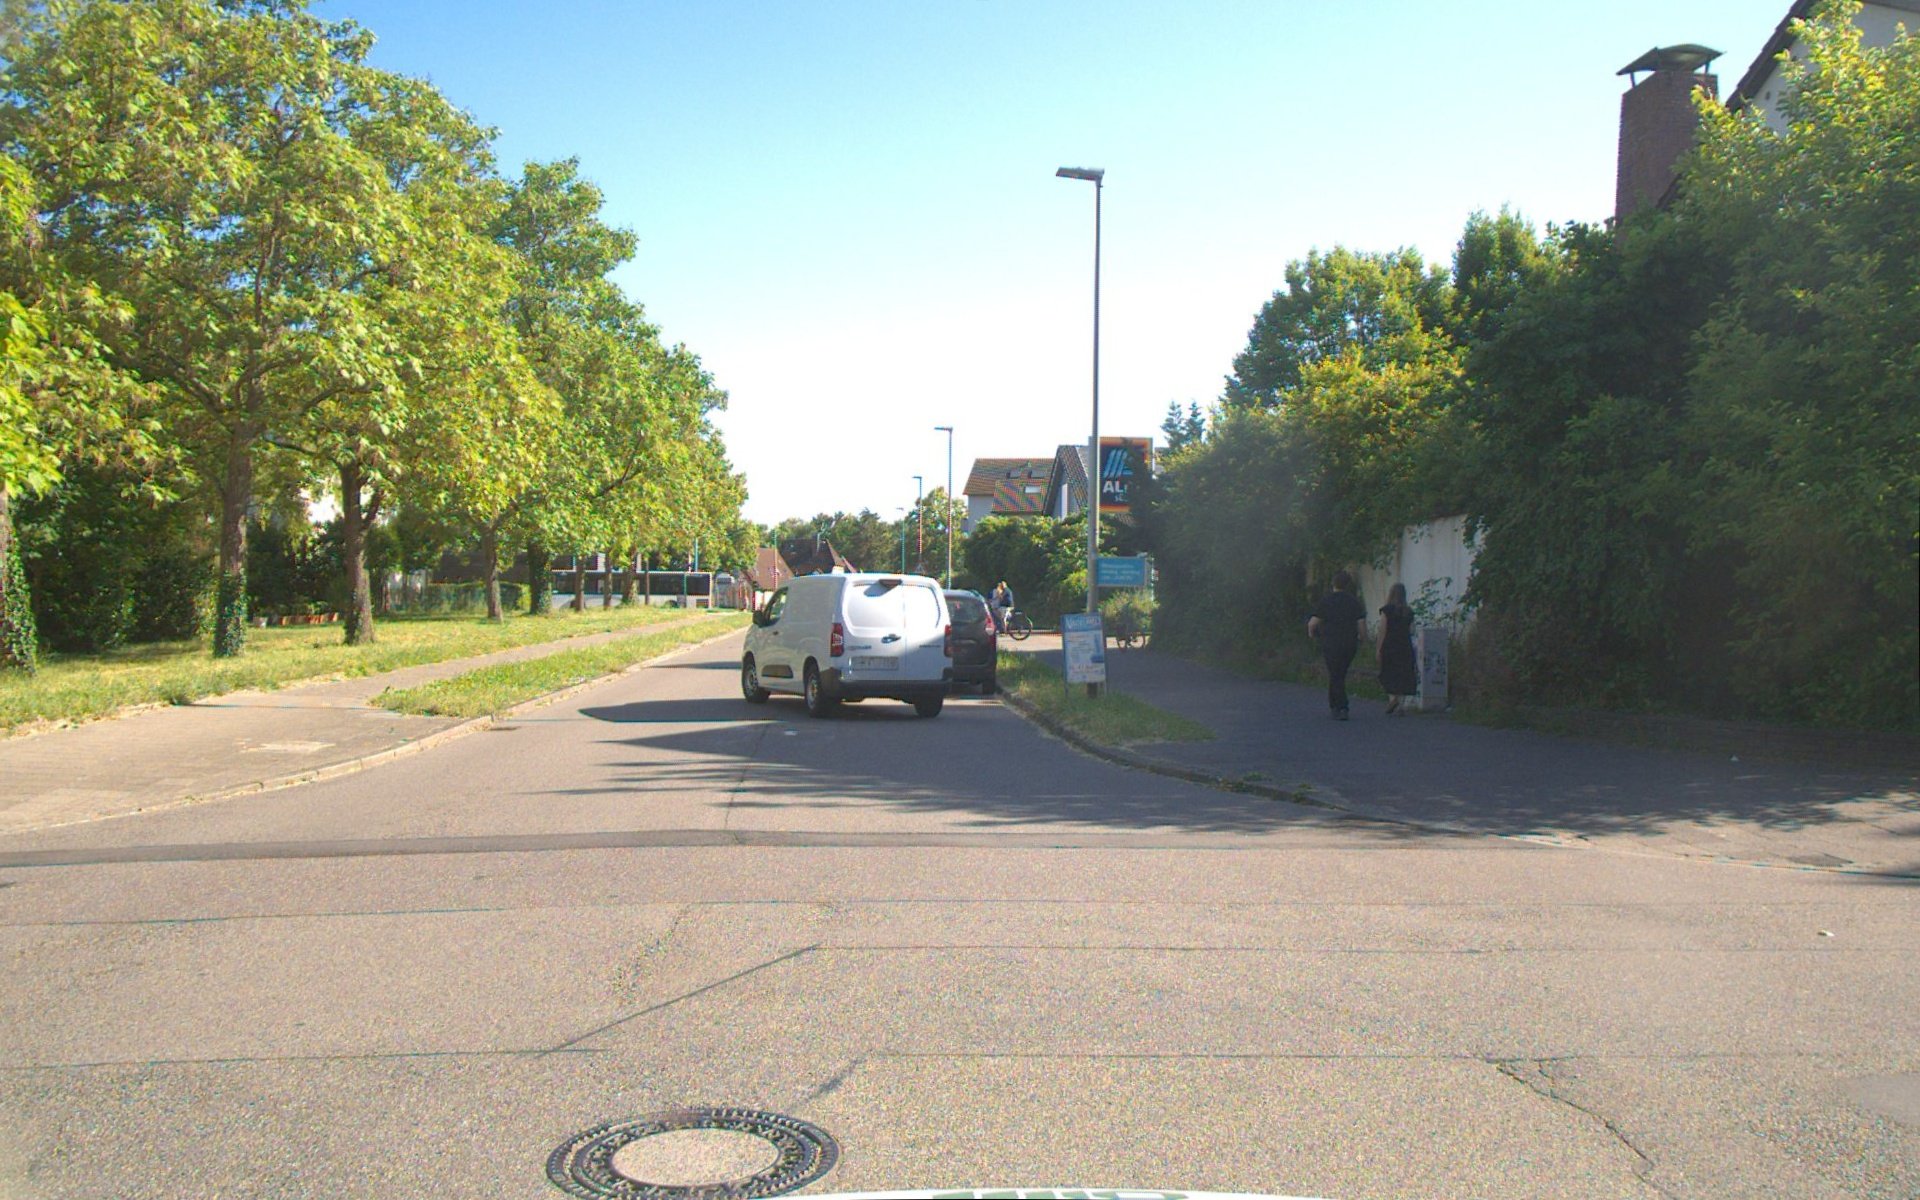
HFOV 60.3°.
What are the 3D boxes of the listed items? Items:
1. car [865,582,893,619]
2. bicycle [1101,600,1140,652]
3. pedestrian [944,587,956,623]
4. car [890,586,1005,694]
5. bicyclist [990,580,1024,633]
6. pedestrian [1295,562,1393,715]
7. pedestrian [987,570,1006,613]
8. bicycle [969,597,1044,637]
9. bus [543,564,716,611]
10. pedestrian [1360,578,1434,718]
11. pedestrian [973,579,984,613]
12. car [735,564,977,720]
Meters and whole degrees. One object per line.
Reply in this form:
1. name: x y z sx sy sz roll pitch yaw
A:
1. car: -6.152 0.072 124.616 1.830 2.607 4.762 2 -1 -5
2. bicycle: 3.941 0.631 40.569 0.705 1.242 1.897 -2 -1 12
3. pedestrian: -0.462 0.243 76.972 0.555 1.665 0.546 0 0 1
4. car: -0.286 0.613 28.237 1.690 1.685 4.349 0 0 -4
5. bicyclist: 1.443 0.211 50.554 0.943 1.612 0.909 0 -1 6
6. pedestrian: 4.532 0.451 19.577 0.788 1.747 0.982 -1 -1 -7
7. pedestrian: 1.571 -0.376 70.718 0.781 1.813 0.809 0 0 4
8. bicycle: 1.419 0.516 50.571 2.224 1.158 0.790 -1 -1 7
9. bus: -20.973 -0.739 105.253 10.424 2.874 3.023 0 0 -26
10. pedestrian: 5.254 0.575 19.930 0.562 1.637 0.791 -1 -1 -7
11. pedestrian: 0.912 -0.205 80.856 0.555 1.665 0.546 0 0 1
12. car: -1.540 0.505 22.710 1.968 1.914 4.256 0 0 -24
